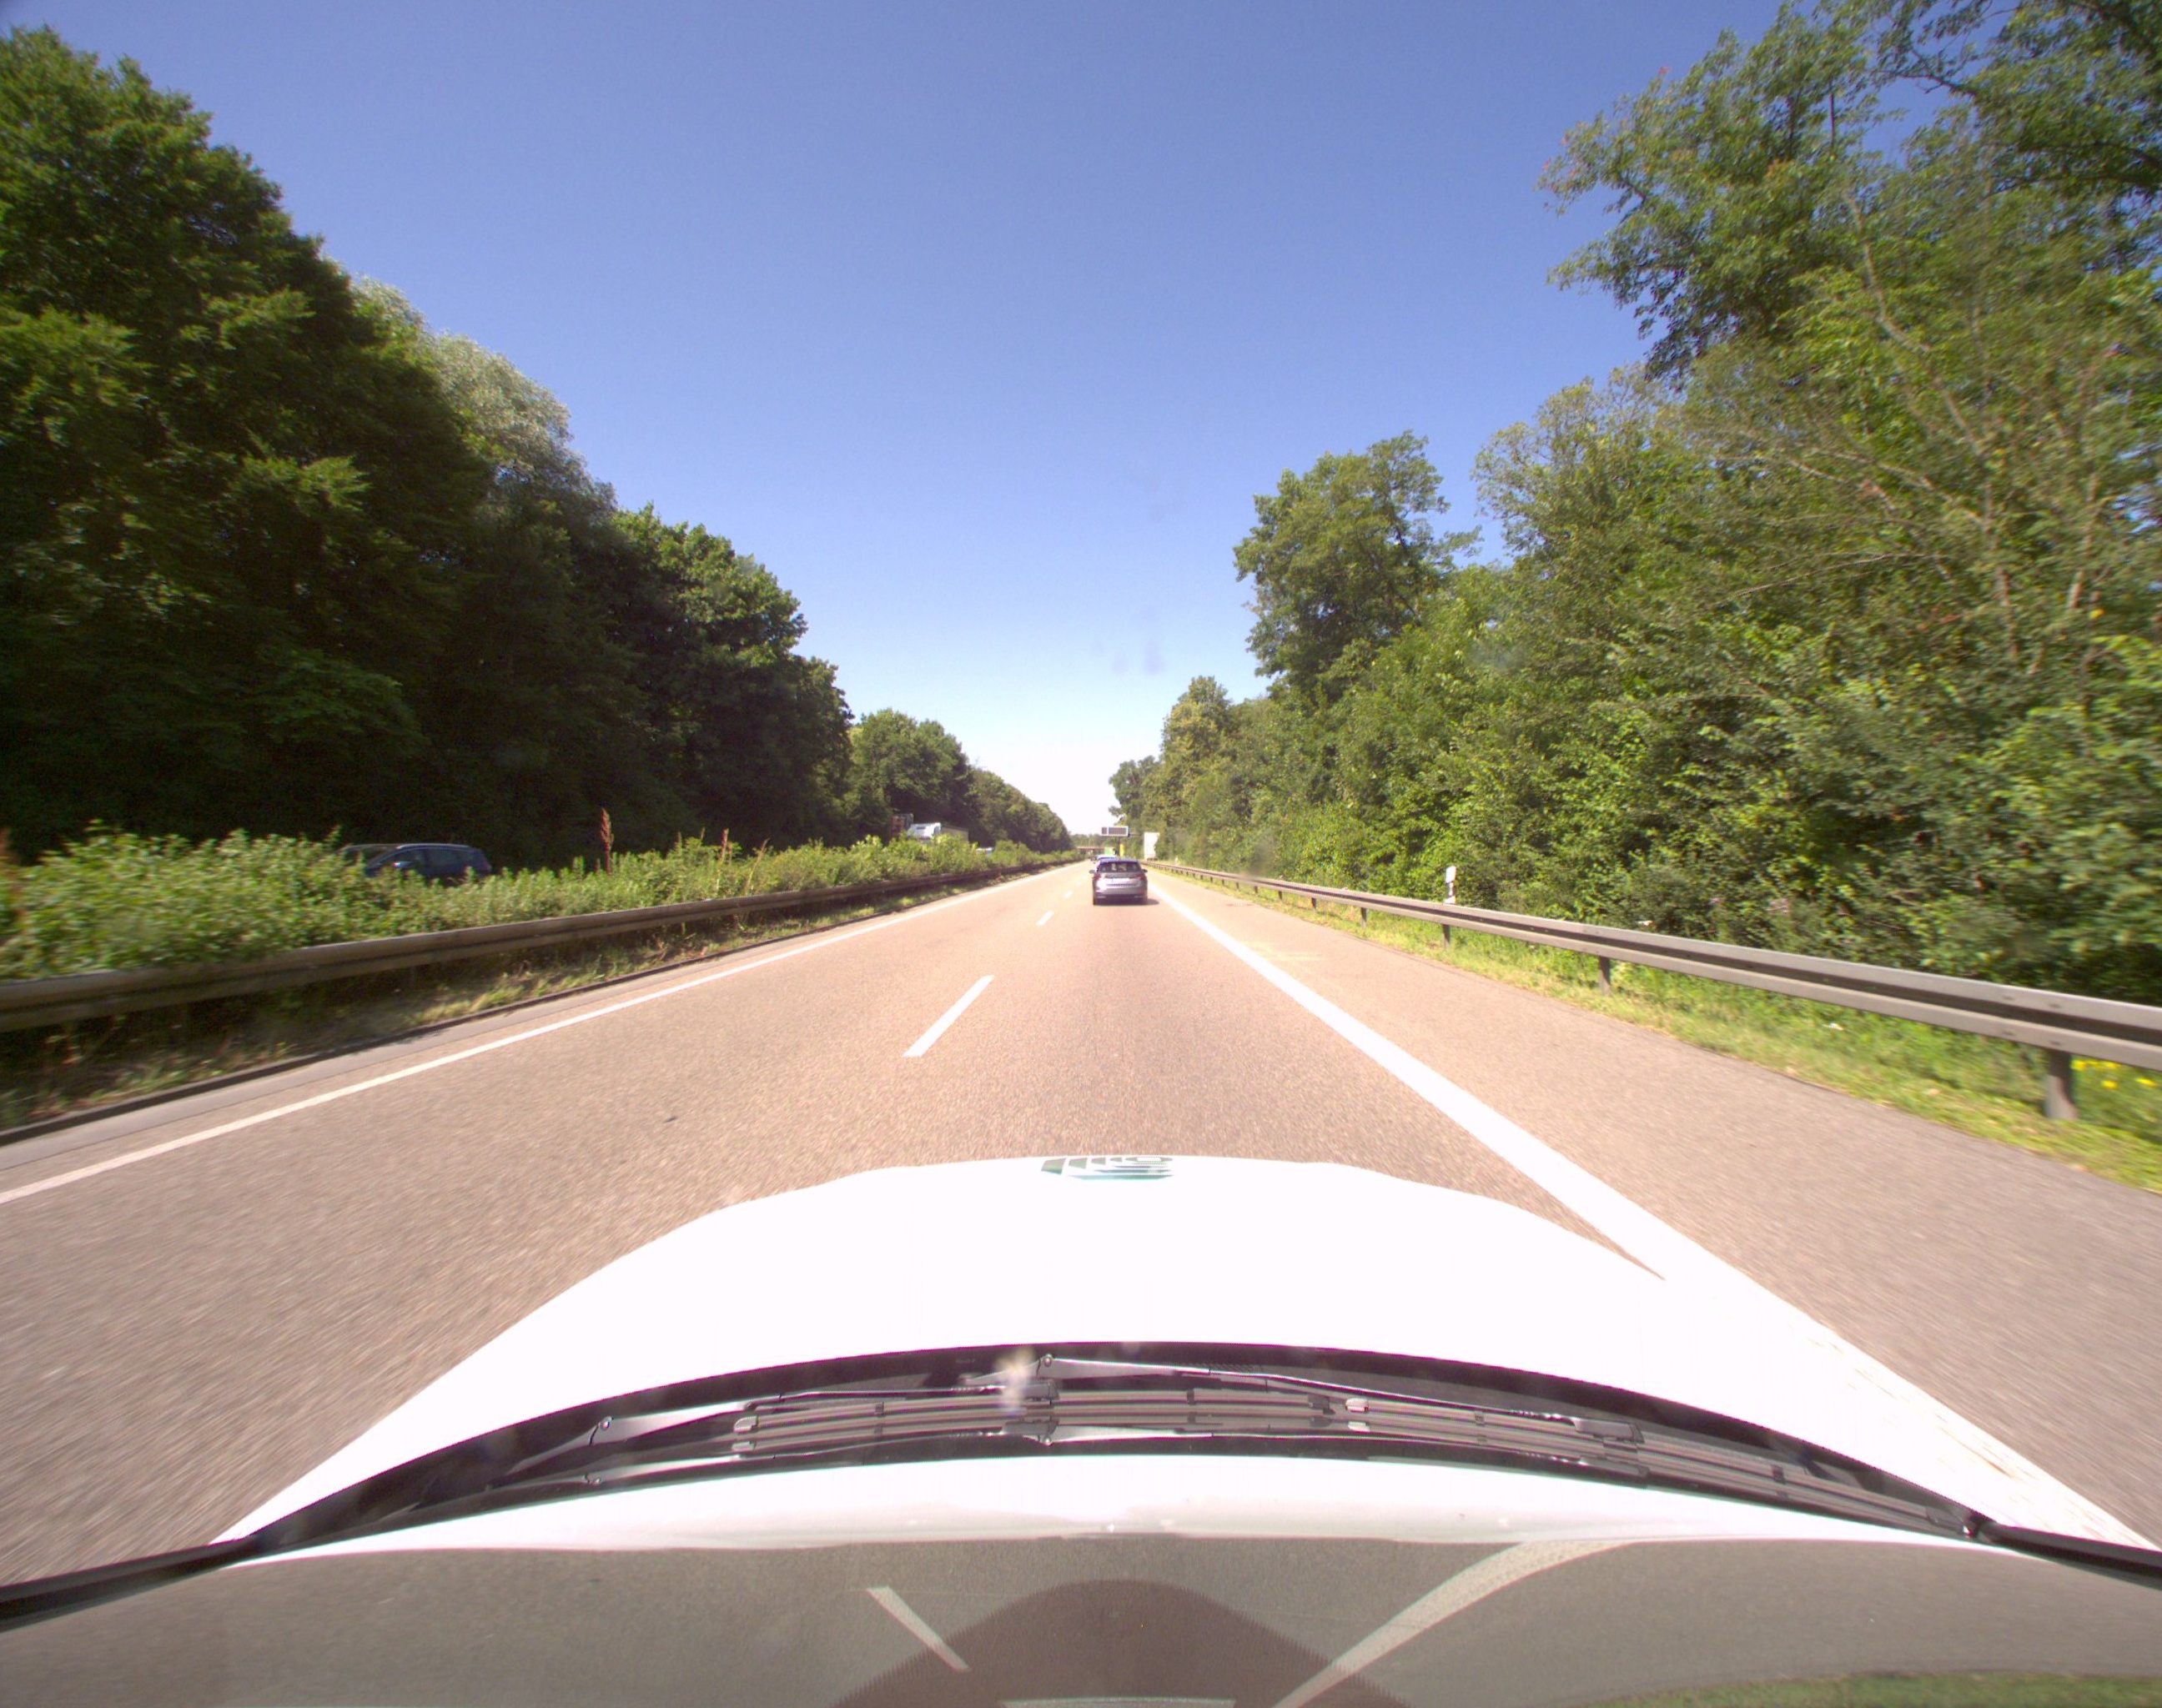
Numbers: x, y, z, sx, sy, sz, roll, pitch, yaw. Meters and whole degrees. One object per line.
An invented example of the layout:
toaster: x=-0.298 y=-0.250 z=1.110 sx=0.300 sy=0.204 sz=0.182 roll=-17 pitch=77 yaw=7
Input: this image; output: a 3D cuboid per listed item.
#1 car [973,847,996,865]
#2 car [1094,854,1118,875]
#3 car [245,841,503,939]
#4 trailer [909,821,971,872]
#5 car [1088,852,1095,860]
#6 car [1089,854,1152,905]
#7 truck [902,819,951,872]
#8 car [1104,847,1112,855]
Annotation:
car: x=-9.101 y=0.217 z=77.340 sx=1.601 sy=1.706 sz=3.483 roll=0 pitch=-1 yaw=2
car: x=1.784 y=0.703 z=56.633 sx=1.516 sy=1.446 sz=3.343 roll=0 pitch=0 yaw=4
car: x=-15.054 y=0.673 z=17.735 sx=1.624 sy=1.849 sz=4.434 roll=0 pitch=0 yaw=2
trailer: x=-12.867 y=-0.621 z=75.785 sx=2.818 sy=4.300 sz=13.669 roll=0 pitch=0 yaw=2
car: x=2.880 y=0.486 z=220.809 sx=1.986 sy=2.014 sz=4.002 roll=0 pitch=-1 yaw=2
car: x=1.287 y=0.761 z=25.925 sx=1.832 sy=1.472 sz=3.627 roll=0 pitch=0 yaw=4
truck: x=-13.070 y=-0.658 z=69.521 sx=2.707 sy=4.244 sz=6.539 roll=0 pitch=-1 yaw=2
car: x=8.418 y=-0.914 z=253.370 sx=2.738 sy=2.654 sz=4.002 roll=0 pitch=-1 yaw=2
